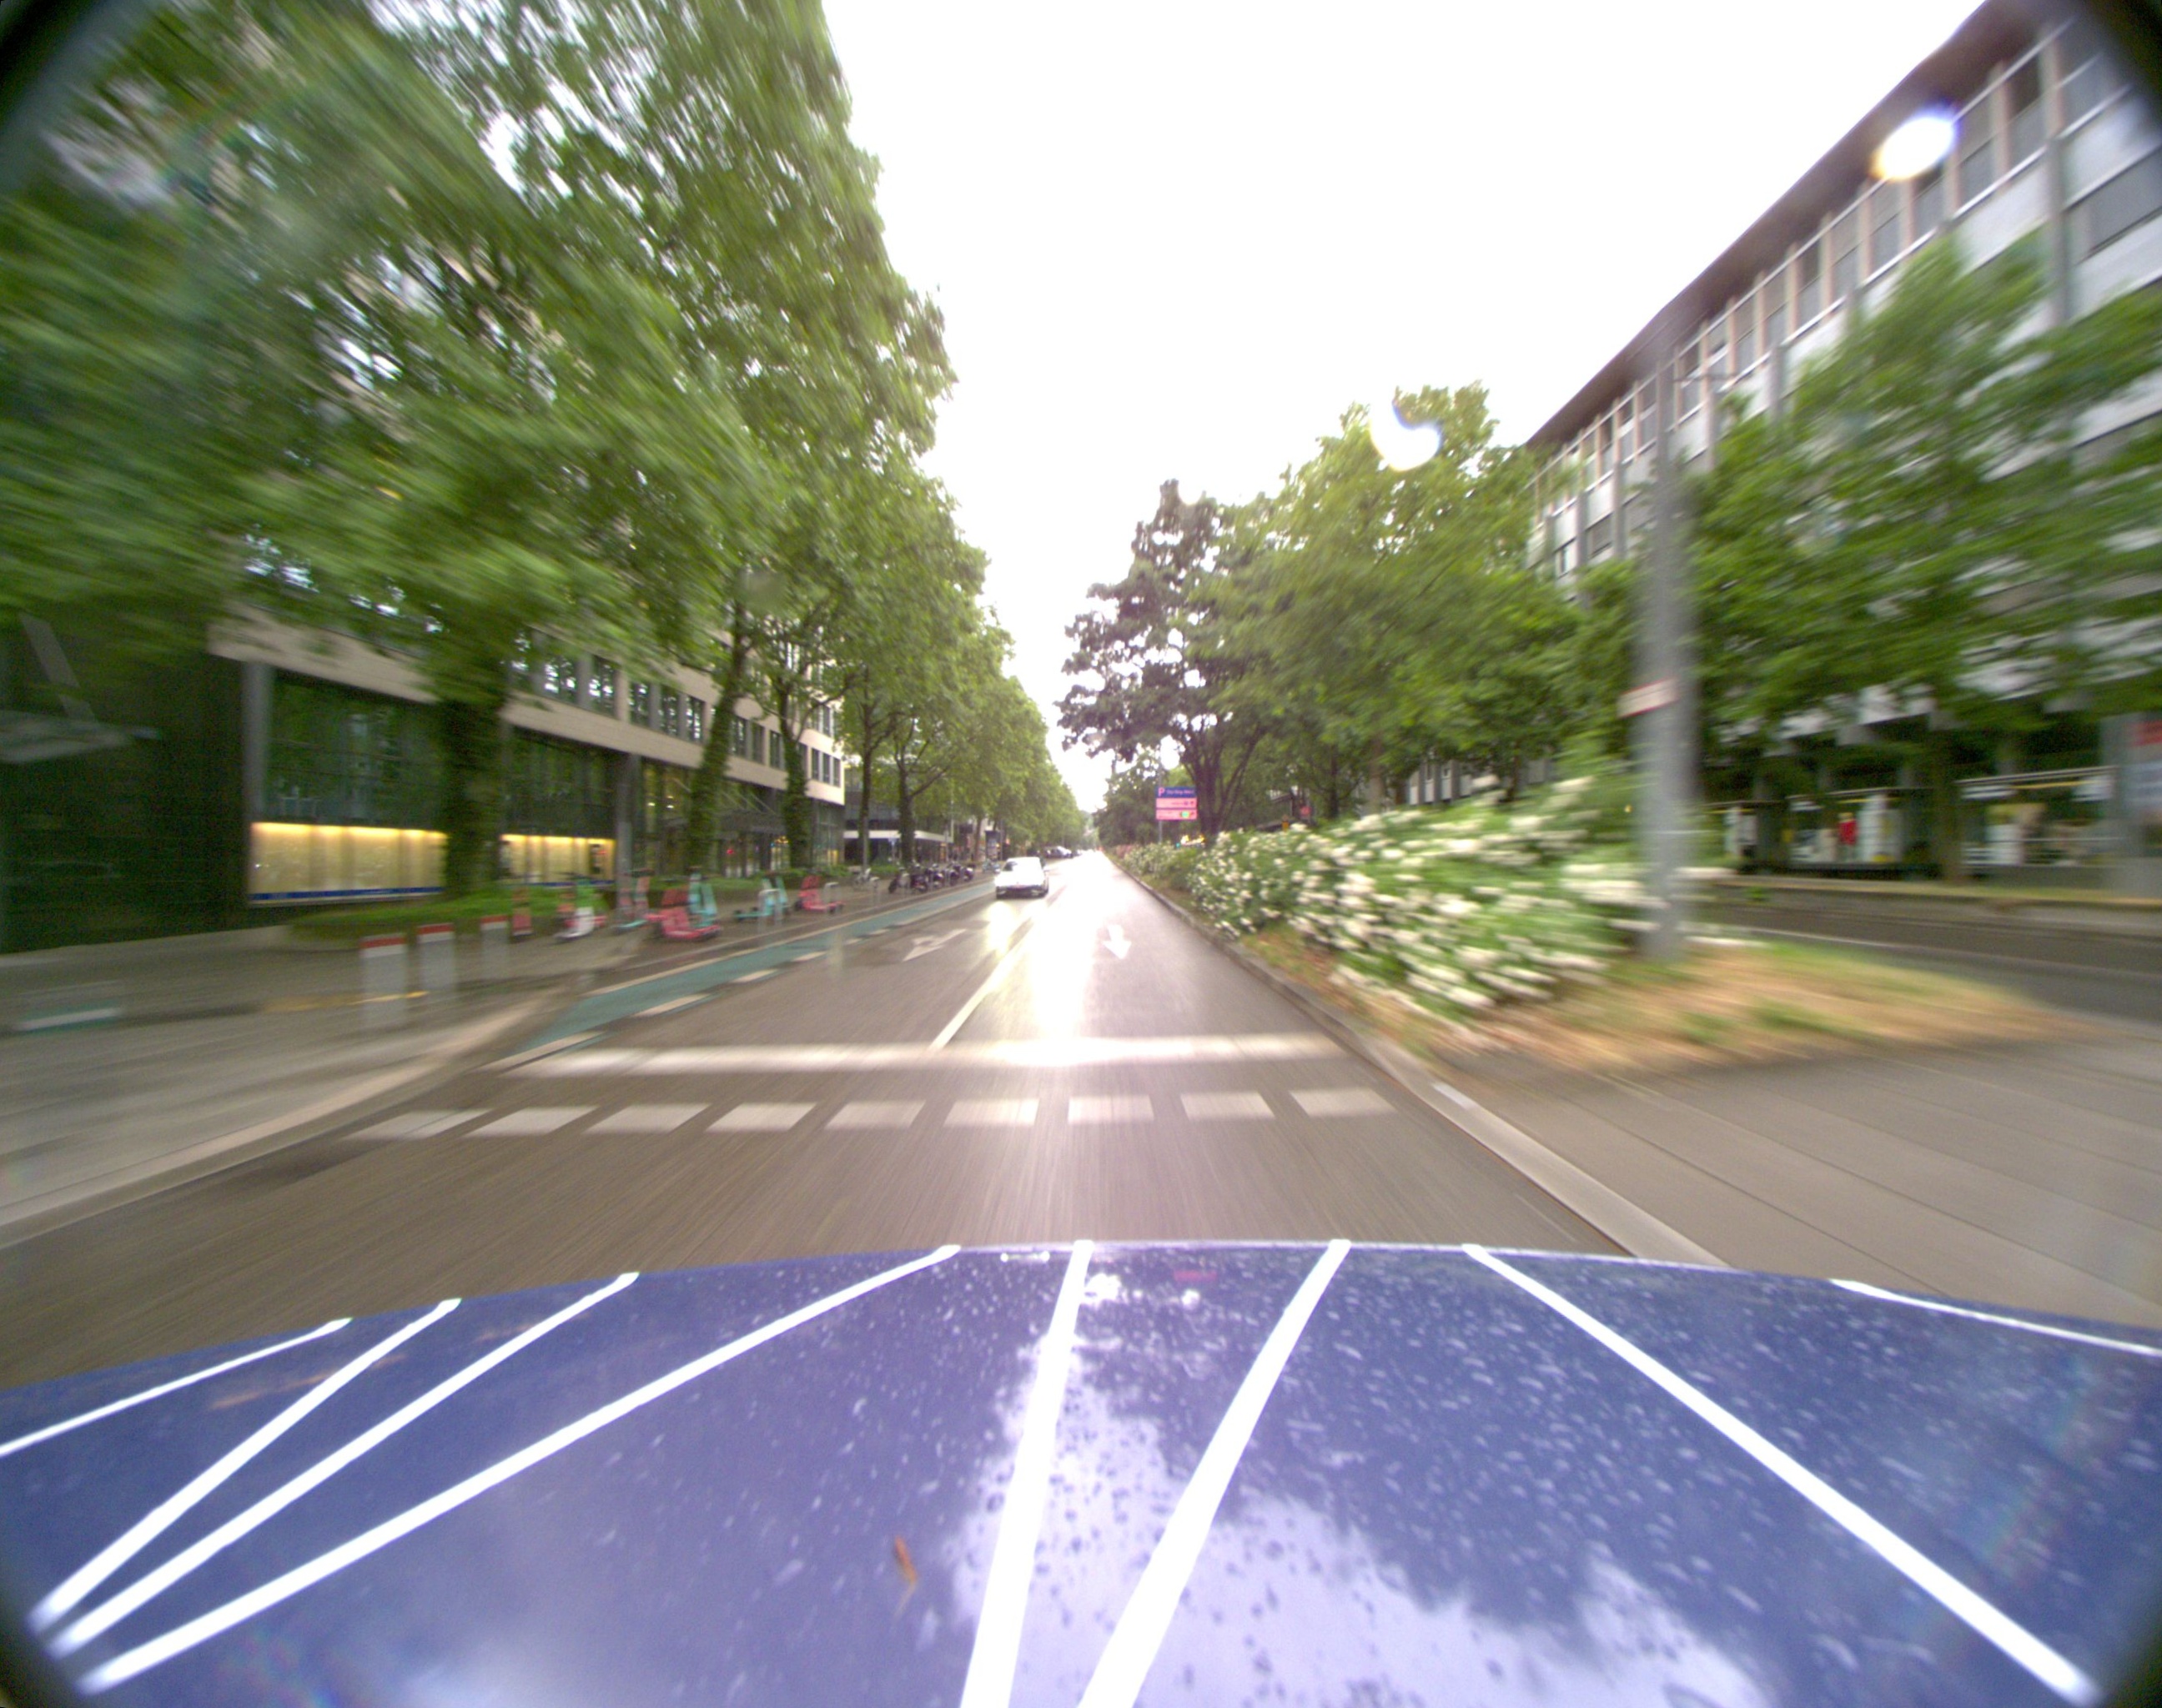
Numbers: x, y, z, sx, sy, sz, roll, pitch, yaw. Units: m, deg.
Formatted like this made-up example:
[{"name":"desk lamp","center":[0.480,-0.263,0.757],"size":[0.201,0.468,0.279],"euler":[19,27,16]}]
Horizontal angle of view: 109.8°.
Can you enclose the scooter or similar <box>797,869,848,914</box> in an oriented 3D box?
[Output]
[{"name":"scooter or similar","center":[-7.534,1.081,22.203],"size":[1.292,1.270,0.537],"euler":[0,-1,5]}]

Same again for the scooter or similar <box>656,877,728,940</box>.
[{"name":"scooter or similar","center":[-8.026,1.118,15.692],"size":[1.291,1.252,0.490],"euler":[0,-1,13]}]

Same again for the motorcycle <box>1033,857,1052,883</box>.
[{"name":"motorcycle","center":[-1.946,0.811,38.532],"size":[0.744,1.194,2.235],"euler":[-2,1,1]}]

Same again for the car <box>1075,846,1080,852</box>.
[{"name":"car","center":[-1.028,-1.513,228.829],"size":[1.598,1.517,3.425],"euler":[-1,1,1]}]

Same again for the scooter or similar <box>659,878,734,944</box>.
[{"name":"scooter or similar","center":[-7.663,1.118,15.150],"size":[1.291,1.252,0.490],"euler":[0,-1,13]}]

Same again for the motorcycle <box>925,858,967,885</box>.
[{"name":"motorcycle","center":[-6.838,0.878,38.480],"size":[1.964,1.365,0.728],"euler":[1,-1,-20]}]

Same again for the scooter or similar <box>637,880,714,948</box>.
[{"name":"scooter or similar","center":[-7.753,1.134,14.540],"size":[1.291,1.252,0.490],"euler":[0,-1,13]}]

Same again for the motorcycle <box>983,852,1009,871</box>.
[{"name":"motorcycle","center":[-6.549,0.572,58.680],"size":[0.682,1.359,1.950],"euler":[4,2,42]}]

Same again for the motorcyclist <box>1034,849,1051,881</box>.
[{"name":"motorcyclist","center":[-1.958,0.558,38.465],"size":[0.744,1.575,1.059],"euler":[-2,2,1]}]

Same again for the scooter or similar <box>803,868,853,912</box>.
[{"name":"scooter or similar","center":[-7.540,1.072,22.647],"size":[1.292,1.270,0.537],"euler":[0,-1,5]}]

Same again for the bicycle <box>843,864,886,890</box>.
[{"name":"bicycle","center":[-9.002,0.936,31.686],"size":[0.637,1.022,1.766],"euler":[-1,1,30]}]

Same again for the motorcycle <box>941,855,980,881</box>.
[{"name":"motorcycle","center":[-6.777,0.789,42.873],"size":[2.062,1.420,0.728],"euler":[1,-1,-20]}]

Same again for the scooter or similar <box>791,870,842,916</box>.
[{"name":"scooter or similar","center":[-7.476,1.094,21.517],"size":[1.294,1.270,0.536],"euler":[1,-1,-9]}]

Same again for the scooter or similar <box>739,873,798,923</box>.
[{"name":"scooter or similar","center":[-7.961,1.116,19.400],"size":[1.292,1.228,0.489],"euler":[0,-1,3]}]

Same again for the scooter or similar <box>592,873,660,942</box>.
[{"name":"scooter or similar","center":[-8.709,1.007,14.602],"size":[0.489,1.252,1.294],"euler":[0,-1,1]}]

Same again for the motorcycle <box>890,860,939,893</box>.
[{"name":"motorcycle","center":[-6.965,0.946,31.708],"size":[1.963,1.365,0.728],"euler":[1,-1,-15]}]

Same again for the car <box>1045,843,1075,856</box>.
[{"name":"car","center":[-4.435,-0.934,163.235],"size":[6.267,2.665,2.326],"euler":[-1,2,37]}]

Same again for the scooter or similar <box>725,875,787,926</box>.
[{"name":"scooter or similar","center":[-7.976,1.132,18.656],"size":[1.292,1.228,0.489],"euler":[0,-1,3]}]

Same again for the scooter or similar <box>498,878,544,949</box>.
[{"name":"scooter or similar","center":[-10.302,1.069,14.011],"size":[0.490,1.191,1.290],"euler":[-2,2,-29]}]

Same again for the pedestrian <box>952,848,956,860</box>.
[{"name":"pedestrian","center":[-18.717,0.006,112.037],"size":[0.523,1.849,0.704],"euler":[1,2,1]}]

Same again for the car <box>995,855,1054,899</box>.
[{"name":"car","center":[-2.083,0.832,29.038],"size":[1.795,1.463,3.793],"euler":[-2,1,2]}]

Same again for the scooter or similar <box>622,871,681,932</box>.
[{"name":"scooter or similar","center":[-9.190,0.985,16.308],"size":[0.489,1.252,1.294],"euler":[0,-1,1]}]

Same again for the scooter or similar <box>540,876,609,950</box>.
[{"name":"scooter or similar","center":[-9.134,1.038,13.757],"size":[0.489,1.191,1.292],"euler":[-1,1,-8]}]

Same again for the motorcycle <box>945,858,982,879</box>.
[{"name":"motorcycle","center":[-6.987,0.873,45.259],"size":[2.064,1.206,0.683],"euler":[1,1,-34]}]

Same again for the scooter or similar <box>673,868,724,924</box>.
[{"name":"scooter or similar","center":[-8.802,0.947,17.523],"size":[0.489,1.252,1.294],"euler":[0,-1,1]}]

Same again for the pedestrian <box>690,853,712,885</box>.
[{"name":"pedestrian","center":[-20.044,0.793,40.105],"size":[0.727,1.683,0.830],"euler":[0,1,44]}]

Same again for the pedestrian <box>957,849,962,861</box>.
[{"name":"pedestrian","center":[-17.969,0.143,112.393],"size":[0.527,1.616,0.719],"euler":[1,2,1]}]

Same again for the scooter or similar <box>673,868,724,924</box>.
[{"name":"scooter or similar","center":[-8.802,0.947,17.523],"size":[0.489,1.252,1.294],"euler":[0,-1,1]}]

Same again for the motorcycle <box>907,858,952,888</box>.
[{"name":"motorcycle","center":[-6.985,0.875,35.058],"size":[1.964,1.365,0.728],"euler":[1,-1,-20]}]
